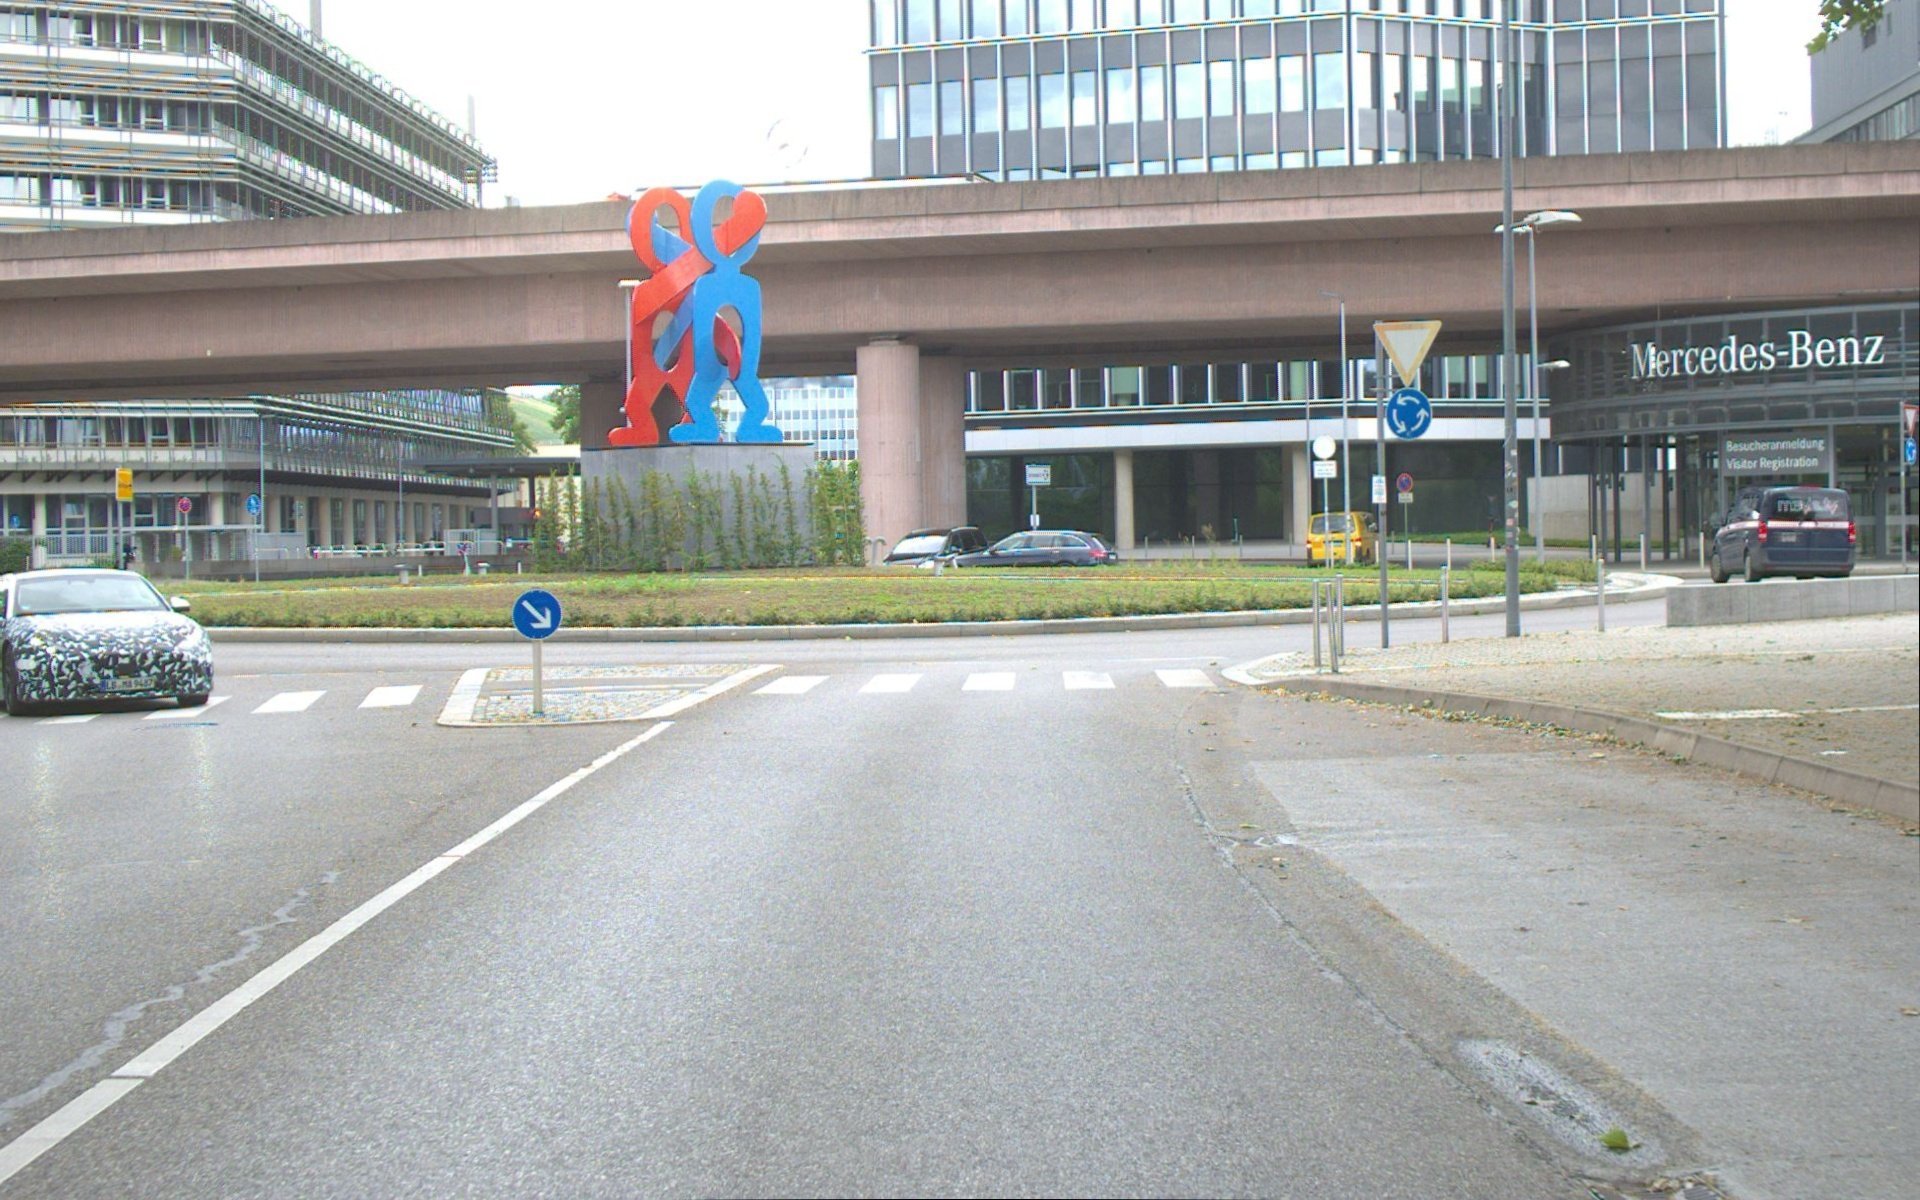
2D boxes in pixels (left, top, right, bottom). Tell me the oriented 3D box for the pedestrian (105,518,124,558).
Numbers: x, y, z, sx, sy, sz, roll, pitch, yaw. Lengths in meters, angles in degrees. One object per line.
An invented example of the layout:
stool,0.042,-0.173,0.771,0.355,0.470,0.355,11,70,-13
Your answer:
pedestrian,-43.023,-3.167,174.987,0.776,2.007,0.671,0,1,-1

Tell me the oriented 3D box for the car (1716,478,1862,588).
car,15.756,-1.271,65.562,2.277,2.007,4.782,0,1,8

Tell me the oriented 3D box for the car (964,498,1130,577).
car,2.163,-1.532,84.757,3.724,1.919,1.920,0,1,16

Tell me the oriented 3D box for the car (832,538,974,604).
car,-1.522,-0.807,93.290,1.997,1.766,3.993,0,1,32

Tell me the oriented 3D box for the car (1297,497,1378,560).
car,12.236,-2.298,111.241,1.995,2.007,3.997,0,1,15

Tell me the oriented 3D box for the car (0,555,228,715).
car,-9.215,0.313,35.409,1.901,1.448,4.815,-3,2,-29
